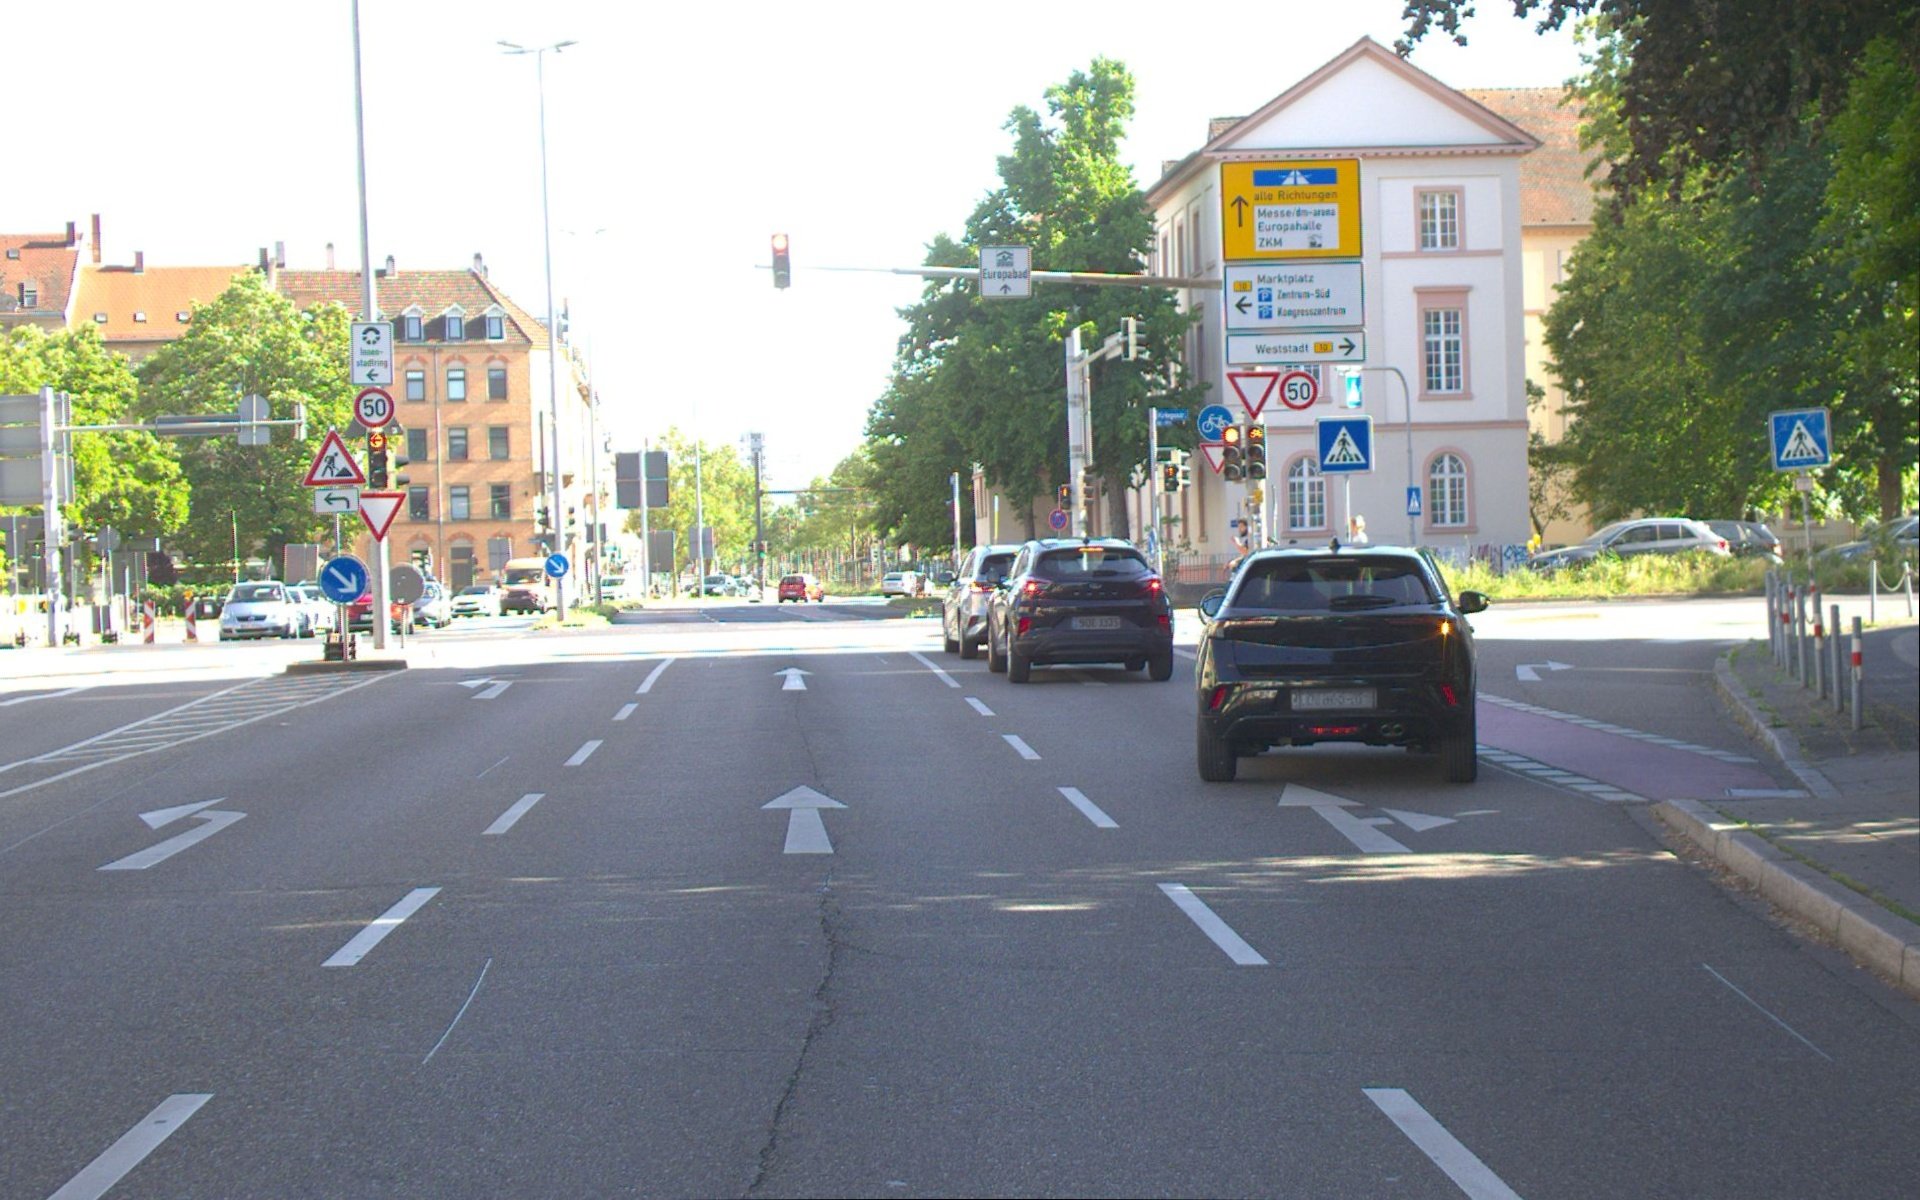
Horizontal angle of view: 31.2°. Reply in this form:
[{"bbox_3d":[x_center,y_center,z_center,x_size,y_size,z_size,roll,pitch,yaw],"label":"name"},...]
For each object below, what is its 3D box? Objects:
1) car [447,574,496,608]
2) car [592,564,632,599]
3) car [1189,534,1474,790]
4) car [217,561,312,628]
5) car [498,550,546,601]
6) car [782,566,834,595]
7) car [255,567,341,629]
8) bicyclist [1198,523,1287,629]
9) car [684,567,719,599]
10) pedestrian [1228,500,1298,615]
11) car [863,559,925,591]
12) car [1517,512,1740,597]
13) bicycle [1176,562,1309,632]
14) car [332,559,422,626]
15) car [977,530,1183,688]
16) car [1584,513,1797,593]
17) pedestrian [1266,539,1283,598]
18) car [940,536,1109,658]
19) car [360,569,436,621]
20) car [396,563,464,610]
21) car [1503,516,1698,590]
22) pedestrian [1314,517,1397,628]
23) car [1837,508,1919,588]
[{"bbox_3d":[-22.212,-0.428,156.471,1.874,1.443,4.001,-2,1,-4],"label":"car"},{"bbox_3d":[-17.186,-0.925,169.873,1.810,1.628,4.001,-2,1,-4],"label":"car"},{"bbox_3d":[2.546,0.354,22.943,1.746,1.568,3.557,0,1,9],"label":"car"},{"bbox_3d":[-18.150,-0.168,89.894,1.874,1.611,4.001,-2,1,-4],"label":"car"},{"bbox_3d":[-19.159,-1.068,150.469,1.810,2.127,4.001,-2,1,-4],"label":"car"},{"bbox_3d":[-7.921,-1.040,179.613,1.811,1.402,3.998,-2,1,11],"label":"car"},{"bbox_3d":[-18.590,-0.073,96.693,1.874,1.611,4.001,-2,1,-4],"label":"car"},{"bbox_3d":[4.444,-0.385,54.133,1.165,1.628,0.729,-1,1,-24],"label":"bicyclist"},{"bbox_3d":[-14.278,-0.953,190.075,1.810,1.628,4.001,-2,1,-4],"label":"car"},{"bbox_3d":[4.554,-0.641,51.694,0.825,1.696,0.918,-1,1,-9],"label":"pedestrian"},{"bbox_3d":[-3.725,-1.424,194.686,2.177,1.692,3.996,-1,1,20],"label":"car"},{"bbox_3d":[13.838,-0.944,71.284,4.113,1.596,1.823,-2,1,-10],"label":"car"},{"bbox_3d":[4.448,-0.052,54.143,2.031,1.057,0.622,-1,1,-25],"label":"bicycle"},{"bbox_3d":[-14.933,-0.210,88.197,1.791,1.611,4.001,-2,1,-3],"label":"car"},{"bbox_3d":[1.258,0.052,37.665,1.830,1.573,3.840,-2,1,-4],"label":"car"},{"bbox_3d":[15.921,-1.032,75.013,4.113,1.596,1.823,-2,1,-10],"label":"car"},{"bbox_3d":[8.576,-0.856,93.752,0.440,1.610,0.467,1,0,2],"label":"pedestrian"},{"bbox_3d":[0.796,-0.076,44.647,1.830,1.447,3.988,-2,1,-4],"label":"car"},{"bbox_3d":[-17.056,-0.175,104.480,1.874,1.443,4.001,-2,1,-4],"label":"car"},{"bbox_3d":[-17.681,-0.455,114.877,1.874,1.443,4.001,-2,1,-4],"label":"car"},{"bbox_3d":[15.115,-1.120,81.239,4.113,1.596,1.823,-2,1,-10],"label":"car"},{"bbox_3d":[6.033,-0.426,52.436,1.040,1.654,0.784,-2,1,-7],"label":"pedestrian"},{"bbox_3d":[20.819,-1.143,72.626,3.986,1.638,1.924,-2,1,-8],"label":"car"}]
